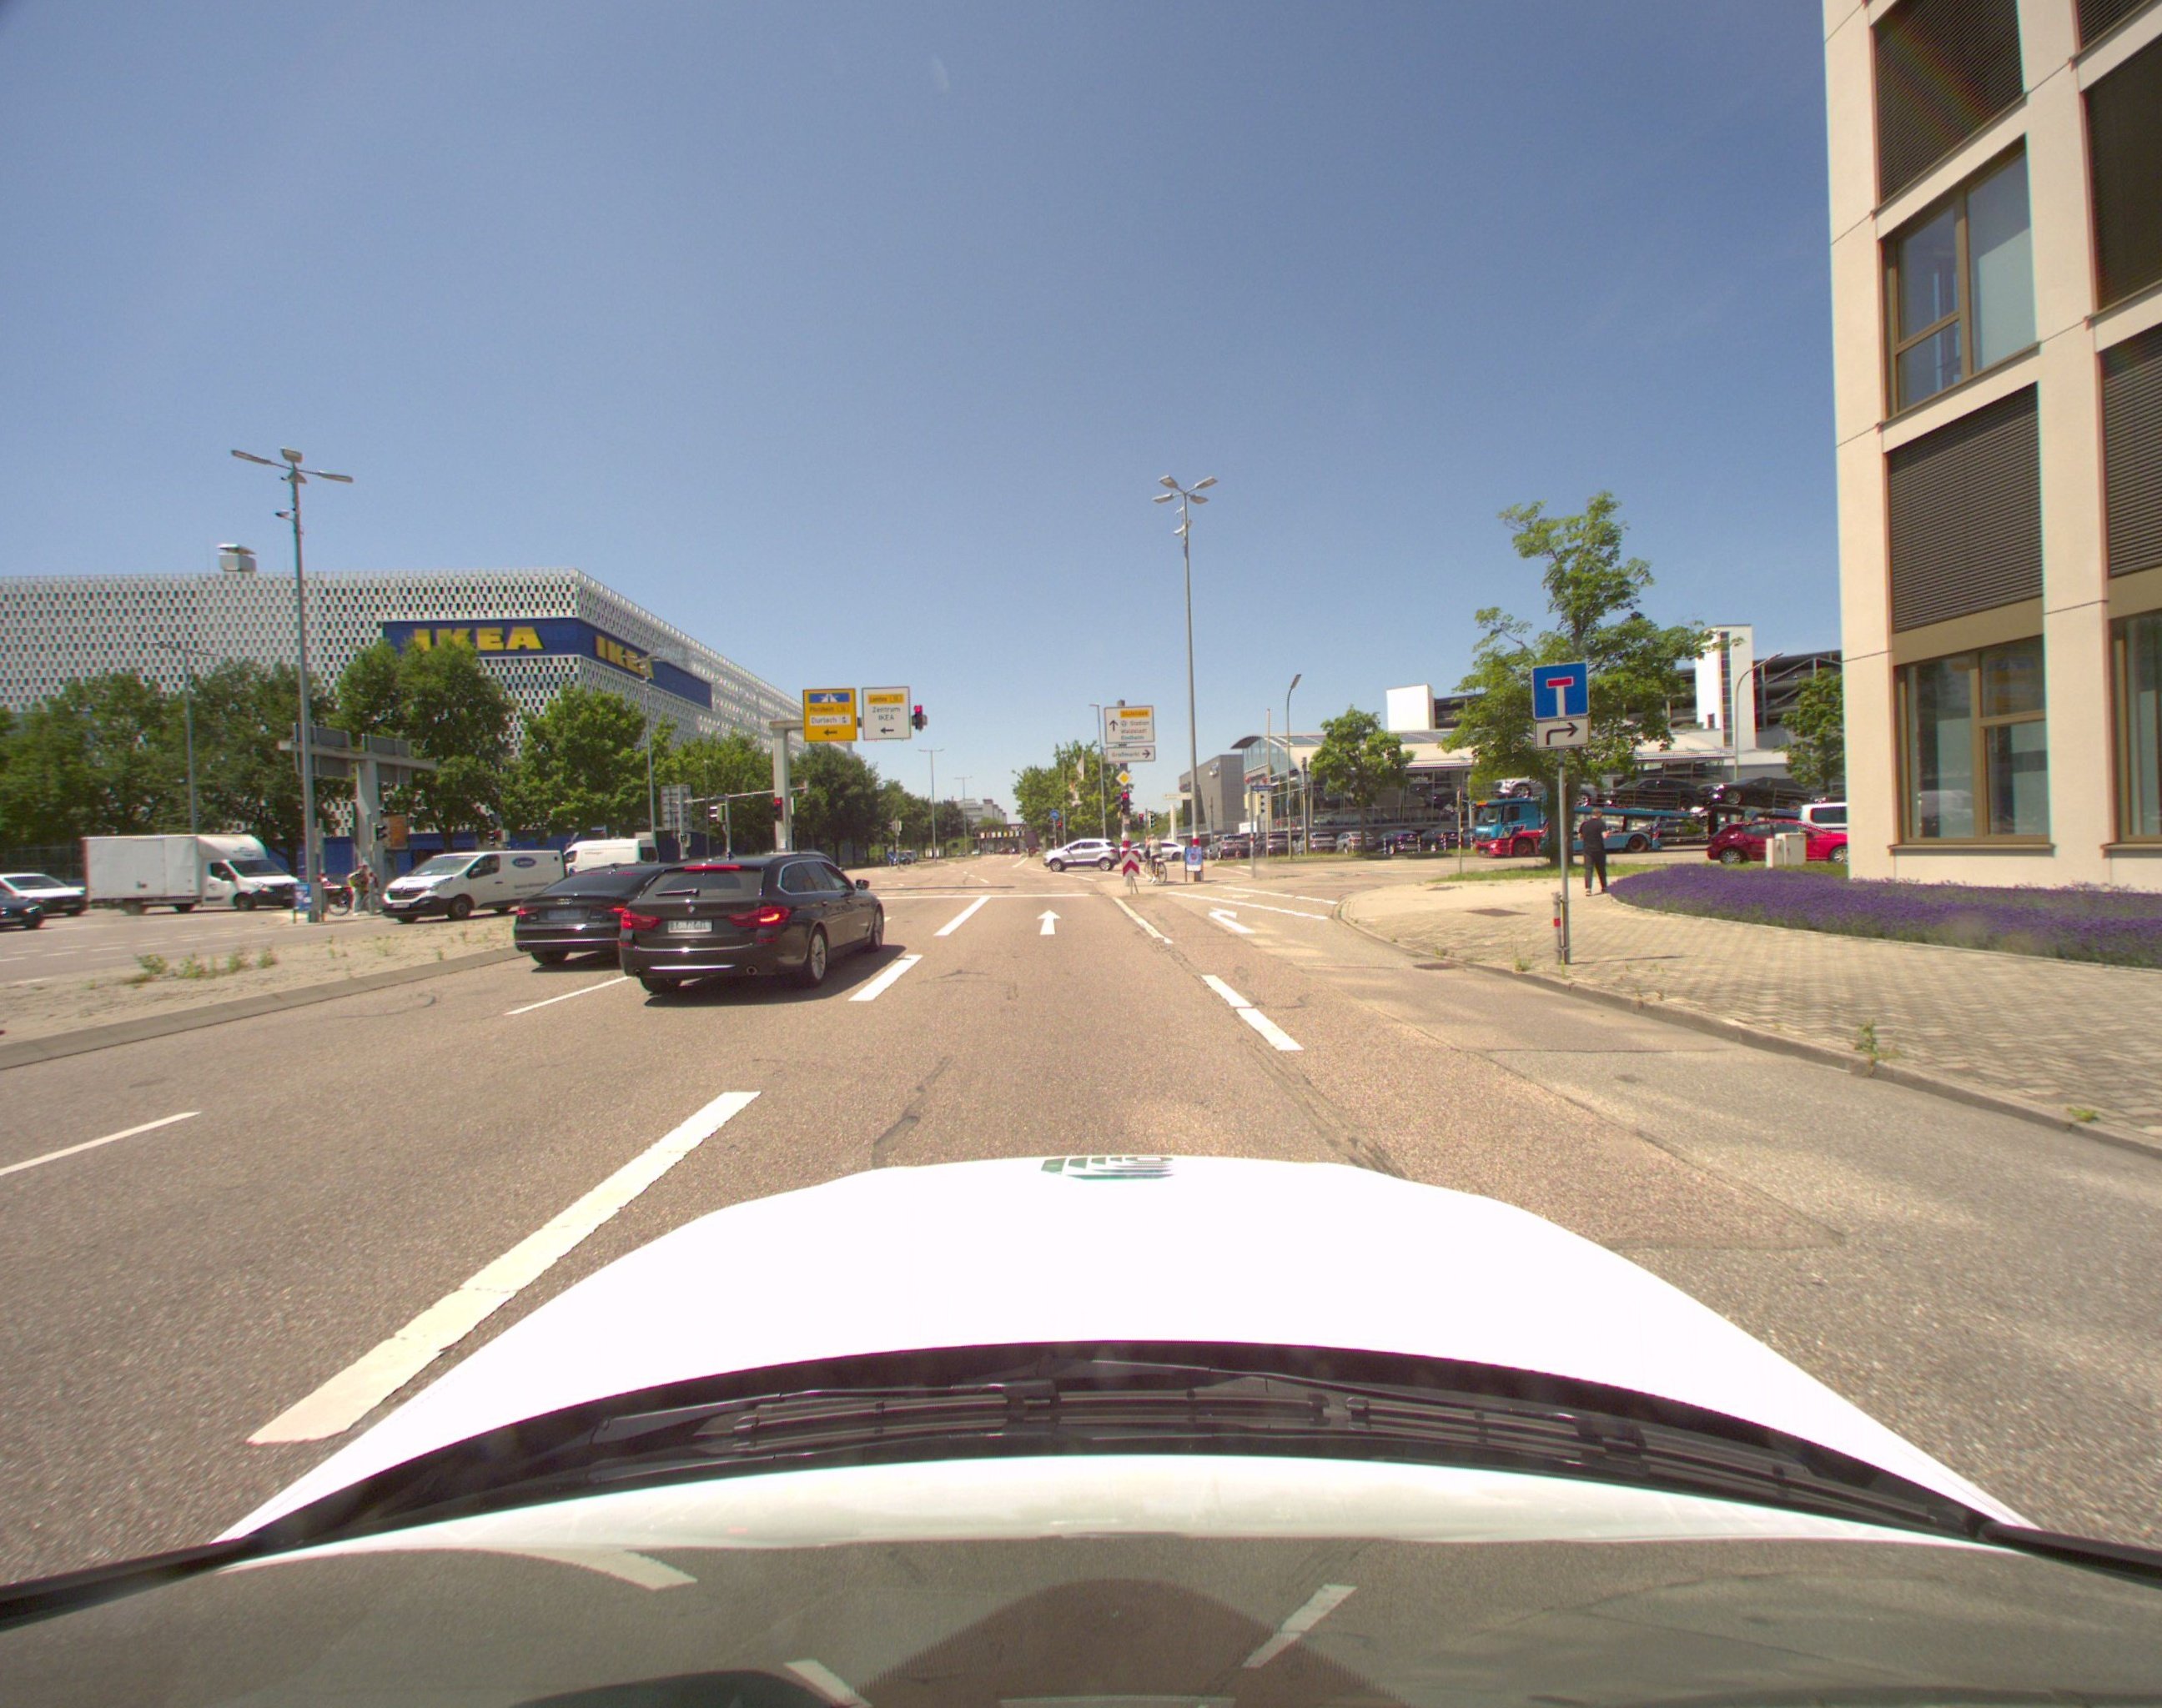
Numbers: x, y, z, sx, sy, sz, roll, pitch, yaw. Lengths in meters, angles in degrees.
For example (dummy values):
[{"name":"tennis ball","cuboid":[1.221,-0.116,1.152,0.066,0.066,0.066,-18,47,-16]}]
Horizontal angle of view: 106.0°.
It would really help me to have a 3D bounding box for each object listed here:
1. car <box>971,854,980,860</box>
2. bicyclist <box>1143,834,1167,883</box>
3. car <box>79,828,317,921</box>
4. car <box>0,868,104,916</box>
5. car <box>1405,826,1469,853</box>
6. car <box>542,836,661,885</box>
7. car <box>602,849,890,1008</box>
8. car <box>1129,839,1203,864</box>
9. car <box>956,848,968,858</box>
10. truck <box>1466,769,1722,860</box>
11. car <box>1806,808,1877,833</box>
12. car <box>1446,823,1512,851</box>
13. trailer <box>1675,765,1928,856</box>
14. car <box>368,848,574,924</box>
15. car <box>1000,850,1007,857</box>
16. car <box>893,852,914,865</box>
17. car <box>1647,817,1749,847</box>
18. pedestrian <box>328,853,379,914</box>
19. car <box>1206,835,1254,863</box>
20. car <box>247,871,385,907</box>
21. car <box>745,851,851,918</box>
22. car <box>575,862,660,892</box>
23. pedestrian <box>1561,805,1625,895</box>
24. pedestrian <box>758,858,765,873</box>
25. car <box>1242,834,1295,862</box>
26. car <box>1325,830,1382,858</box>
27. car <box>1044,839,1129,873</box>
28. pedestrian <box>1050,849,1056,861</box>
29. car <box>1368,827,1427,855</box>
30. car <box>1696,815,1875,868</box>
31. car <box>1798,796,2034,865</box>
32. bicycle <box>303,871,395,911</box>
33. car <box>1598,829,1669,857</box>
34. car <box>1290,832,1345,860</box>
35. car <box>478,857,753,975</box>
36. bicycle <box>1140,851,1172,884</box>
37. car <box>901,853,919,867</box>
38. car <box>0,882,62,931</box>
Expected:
[{"name":"car","cuboid":[-27.611,0.741,213.280,1.920,1.665,4.088,-2,0,0]},{"name":"bicyclist","cuboid":[2.672,0.155,29.478,0.733,1.749,0.752,-1,1,-7]},{"name":"car","cuboid":[-36.061,0.781,33.434,6.885,3.485,2.182,-2,2,-3]},{"name":"car","cuboid":[-44.218,1.608,33.566,5.435,1.811,2.000,-2,0,0]},{"name":"car","cuboid":[22.627,-0.918,51.965,1.824,1.639,4.468,-2,1,-4]},{"name":"car","cuboid":[-26.420,0.369,44.957,5.463,2.566,2.003,-1,0,5]},{"name":"car","cuboid":[-3.775,0.700,10.198,1.795,1.465,4.619,-1,1,-2]},{"name":"car","cuboid":[5.730,-0.188,55.174,4.728,1.457,1.999,-2,1,-2]},{"name":"car","cuboid":[-27.683,-0.187,189.262,1.987,2.014,4.000,-2,-2,1]},{"name":"truck","cuboid":[25.018,-1.866,40.143,10.579,4.082,3.101,-1,0,1]},{"name":"car","cuboid":[59.568,-2.630,63.904,1.729,1.786,3.996,-2,0,-3]},{"name":"car","cuboid":[25.414,-1.060,52.158,1.823,1.639,4.470,-2,1,-3]},{"name":"trailer","cuboid":[35.125,-2.066,40.004,9.577,4.081,3.095,-1,0,1]},{"name":"car","cuboid":[-17.949,0.859,24.343,1.819,1.850,4.855,-3,1,10]},{"name":"car","cuboid":[-21.821,-0.159,228.817,1.768,1.728,3.995,-2,0,-3]},{"name":"car","cuboid":[-23.020,0.597,105.694,1.871,1.598,4.491,-2,0,-3]},{"name":"car","cuboid":[38.025,-1.322,50.333,4.709,1.639,1.843,-2,1,19]},{"name":"pedestrian","cuboid":[-24.930,1.005,27.922,0.904,2.013,0.862,-2,1,-9]},{"name":"car","cuboid":[9.285,-0.330,51.151,1.989,1.639,4.264,-2,1,-3]},{"name":"car","cuboid":[-33.974,1.541,36.242,4.271,1.342,1.775,-2,1,-2]},{"name":"car","cuboid":[-7.059,0.693,20.703,1.797,1.494,3.988,-1,0,-9]},{"name":"car","cuboid":[-23.601,1.164,41.532,3.356,1.357,1.624,-2,0,0]},{"name":"pedestrian","cuboid":[10.909,-0.092,17.362,0.871,1.844,0.766,-3,0,-30]},{"name":"pedestrian","cuboid":[-30.492,1.092,77.727,0.460,1.482,0.483,-2,0,1]},{"name":"car","cuboid":[11.740,-0.413,51.286,1.989,1.639,4.553,-2,1,-3]},{"name":"car","cuboid":[17.255,-0.630,51.806,1.881,1.639,4.520,-2,1,-3]},{"name":"car","cuboid":[0.318,0.089,42.011,4.172,1.651,1.719,-1,0,7]},{"name":"pedestrian","cuboid":[-3.499,0.115,102.112,0.666,1.510,0.735,-2,0,-3]},{"name":"car","cuboid":[19.969,-0.812,51.597,1.823,1.639,4.470,-2,1,-3]},{"name":"car","cuboid":[21.366,-0.355,24.794,1.619,1.435,3.951,-2,0,-44]},{"name":"car","cuboid":[25.187,-0.660,24.840,4.845,1.815,1.715,-2,0,45]},{"name":"bicycle","cuboid":[-25.034,1.239,27.895,2.092,1.212,0.994,-2,1,-9]},{"name":"car","cuboid":[37.194,-0.727,54.894,3.667,1.777,1.758,-2,0,24]},{"name":"car","cuboid":[14.916,-0.536,51.619,1.989,1.639,4.436,-2,1,-3]},{"name":"car","cuboid":[-6.959,0.813,12.855,1.743,1.390,4.531,-1,1,-1]},{"name":"bicycle","cuboid":[2.694,0.478,29.561,0.786,1.127,1.916,-1,1,-7]},{"name":"car","cuboid":[-26.233,0.880,125.093,1.989,2.007,4.759,-2,0,-3]},{"name":"car","cuboid":[-36.587,1.781,26.798,3.966,1.508,1.936,-2,0,6]}]
